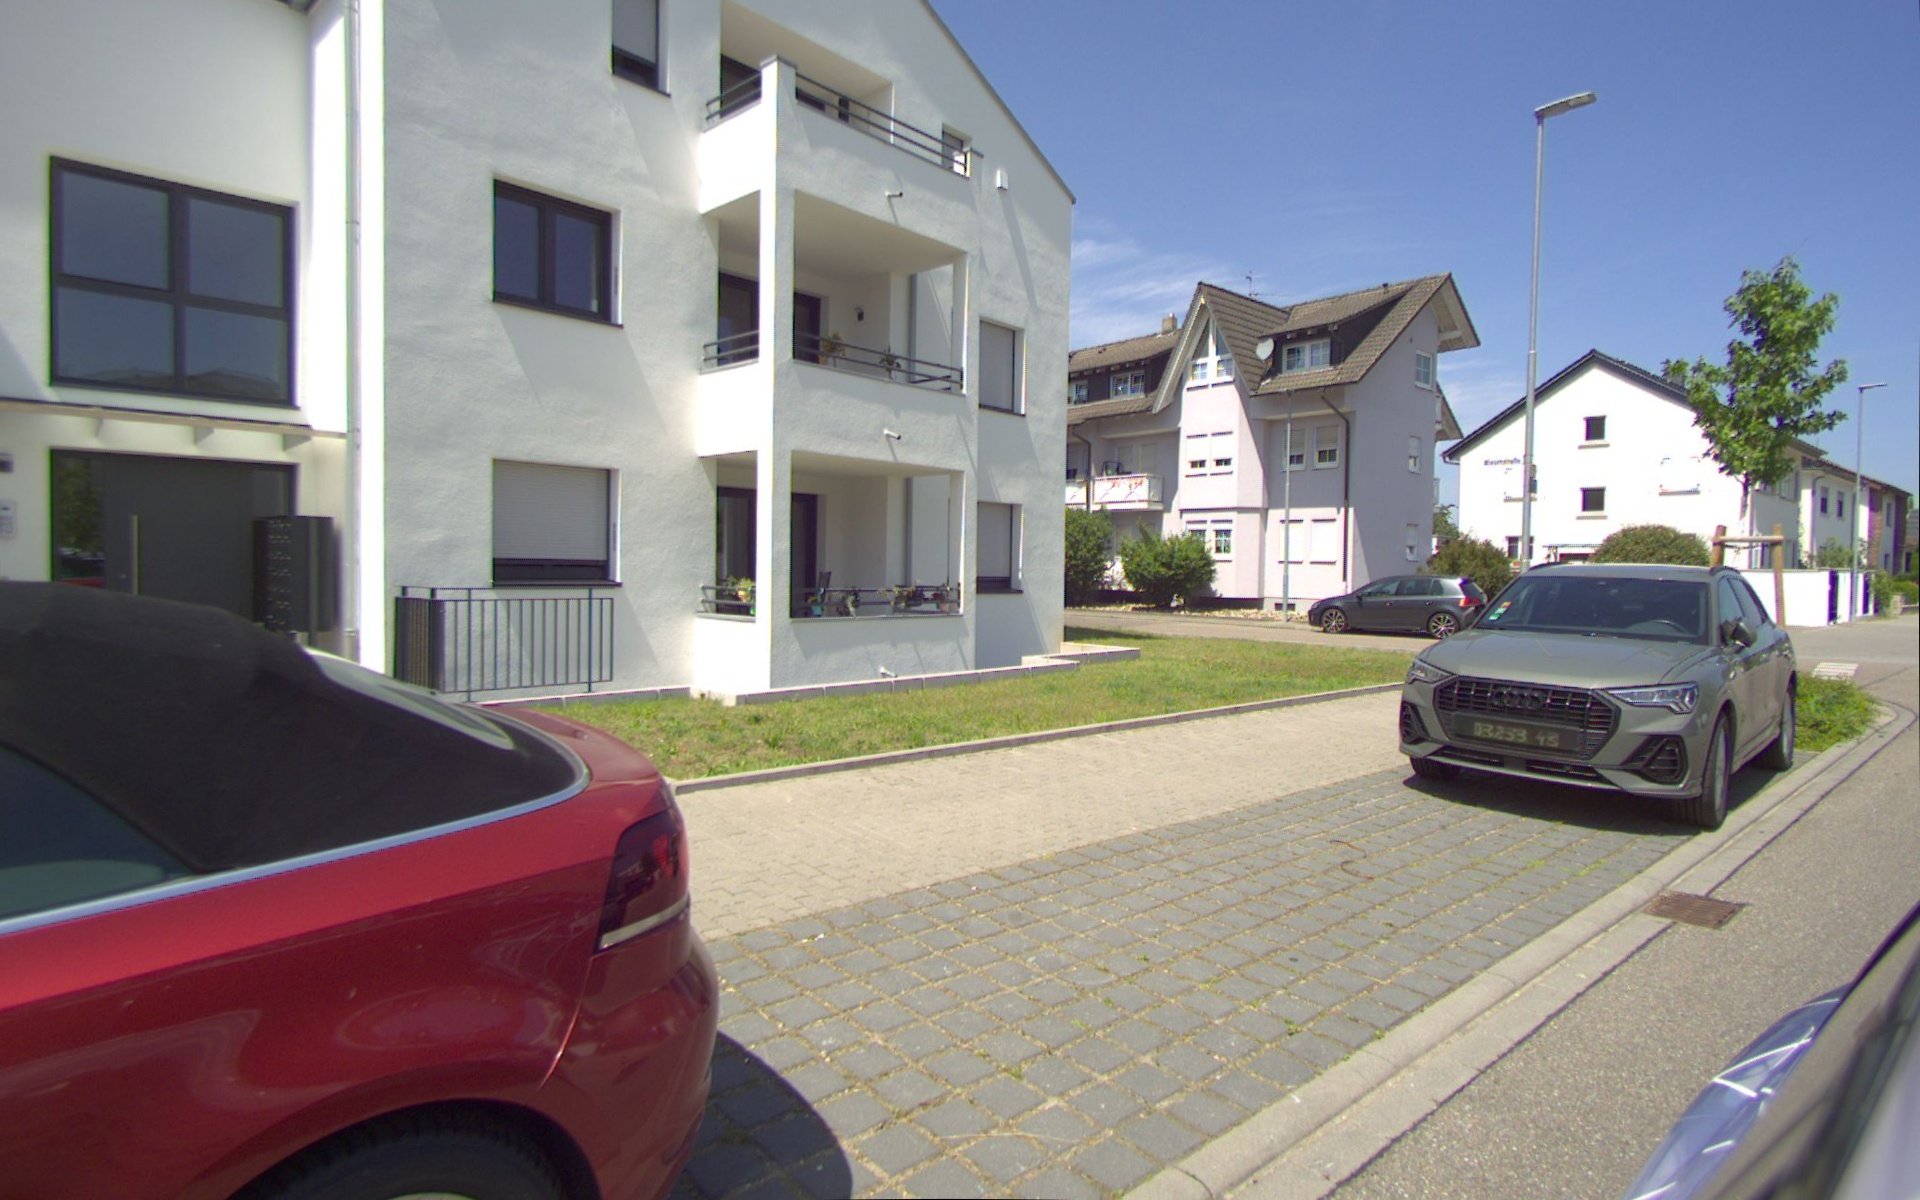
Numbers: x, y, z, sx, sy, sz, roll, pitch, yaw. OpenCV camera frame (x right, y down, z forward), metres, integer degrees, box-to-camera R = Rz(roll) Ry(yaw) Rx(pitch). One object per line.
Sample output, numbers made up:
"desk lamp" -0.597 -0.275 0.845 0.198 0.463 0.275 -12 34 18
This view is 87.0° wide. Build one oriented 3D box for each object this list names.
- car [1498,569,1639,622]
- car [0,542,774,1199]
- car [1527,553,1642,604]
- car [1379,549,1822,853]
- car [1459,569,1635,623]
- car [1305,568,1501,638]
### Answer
"car" 18.962 -0.184 31.594 1.637 1.513 3.448 0 2 -44
"car" -2.363 0.637 1.161 3.960 1.459 1.682 -1 3 -44
"car" 23.901 -0.843 38.805 1.741 1.834 3.392 0 2 -41
"car" 4.927 0.486 7.512 4.208 1.615 1.775 -1 3 -44
"car" 17.282 -0.162 29.925 1.637 1.391 4.206 0 3 -44
"car" 10.638 0.005 24.473 3.990 1.485 1.730 3 2 42
